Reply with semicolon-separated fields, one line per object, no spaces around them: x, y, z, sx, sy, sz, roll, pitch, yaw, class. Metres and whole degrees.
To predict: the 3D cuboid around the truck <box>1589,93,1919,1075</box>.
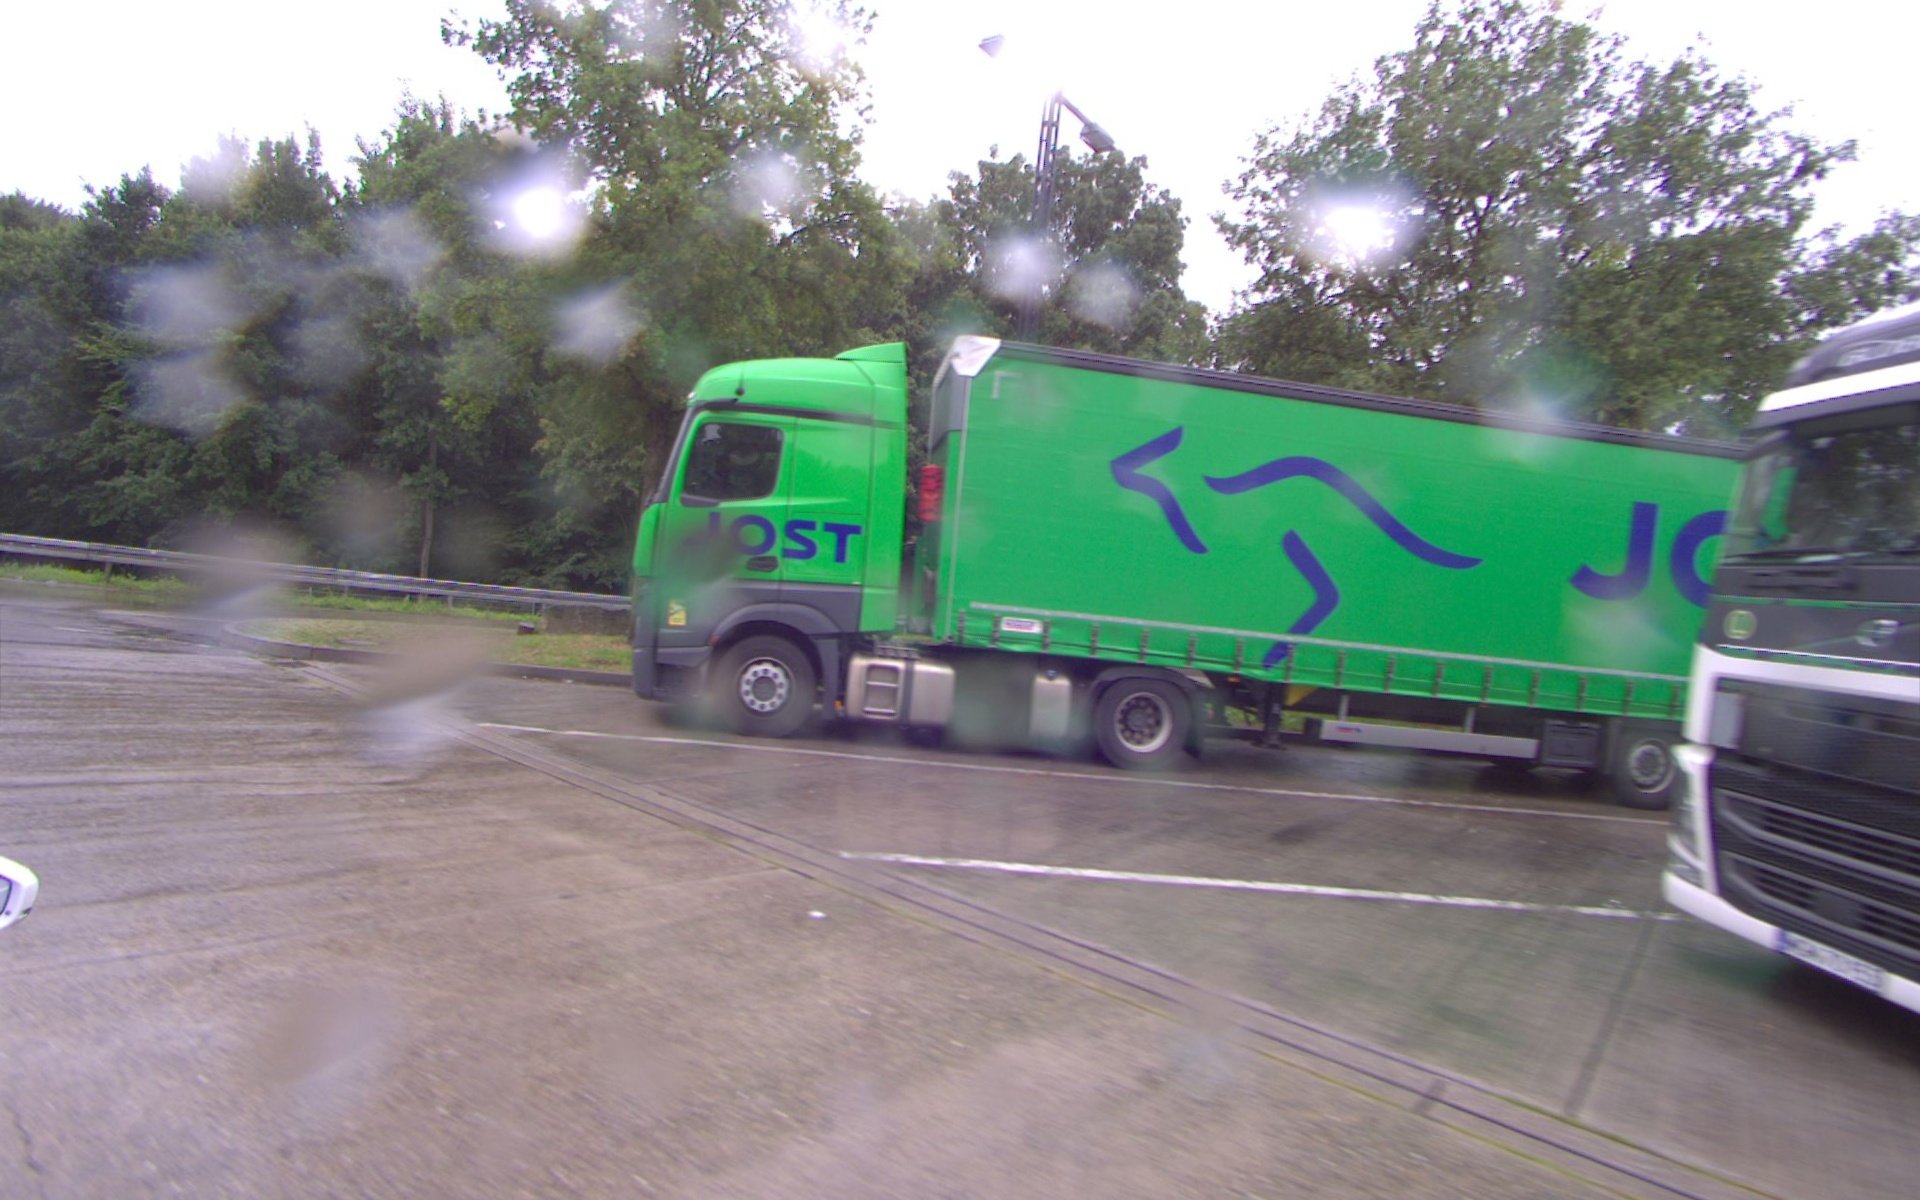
6.644;0.102;4.771;5.208;4.200;2.822;6;2;-6;truck

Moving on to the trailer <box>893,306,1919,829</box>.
6.305;-0.029;11.903;13.723;4.204;2.821;6;2;-8;trailer

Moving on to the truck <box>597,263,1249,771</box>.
-0.422;-0.707;11.028;5.893;4.204;2.821;6;2;-8;truck
